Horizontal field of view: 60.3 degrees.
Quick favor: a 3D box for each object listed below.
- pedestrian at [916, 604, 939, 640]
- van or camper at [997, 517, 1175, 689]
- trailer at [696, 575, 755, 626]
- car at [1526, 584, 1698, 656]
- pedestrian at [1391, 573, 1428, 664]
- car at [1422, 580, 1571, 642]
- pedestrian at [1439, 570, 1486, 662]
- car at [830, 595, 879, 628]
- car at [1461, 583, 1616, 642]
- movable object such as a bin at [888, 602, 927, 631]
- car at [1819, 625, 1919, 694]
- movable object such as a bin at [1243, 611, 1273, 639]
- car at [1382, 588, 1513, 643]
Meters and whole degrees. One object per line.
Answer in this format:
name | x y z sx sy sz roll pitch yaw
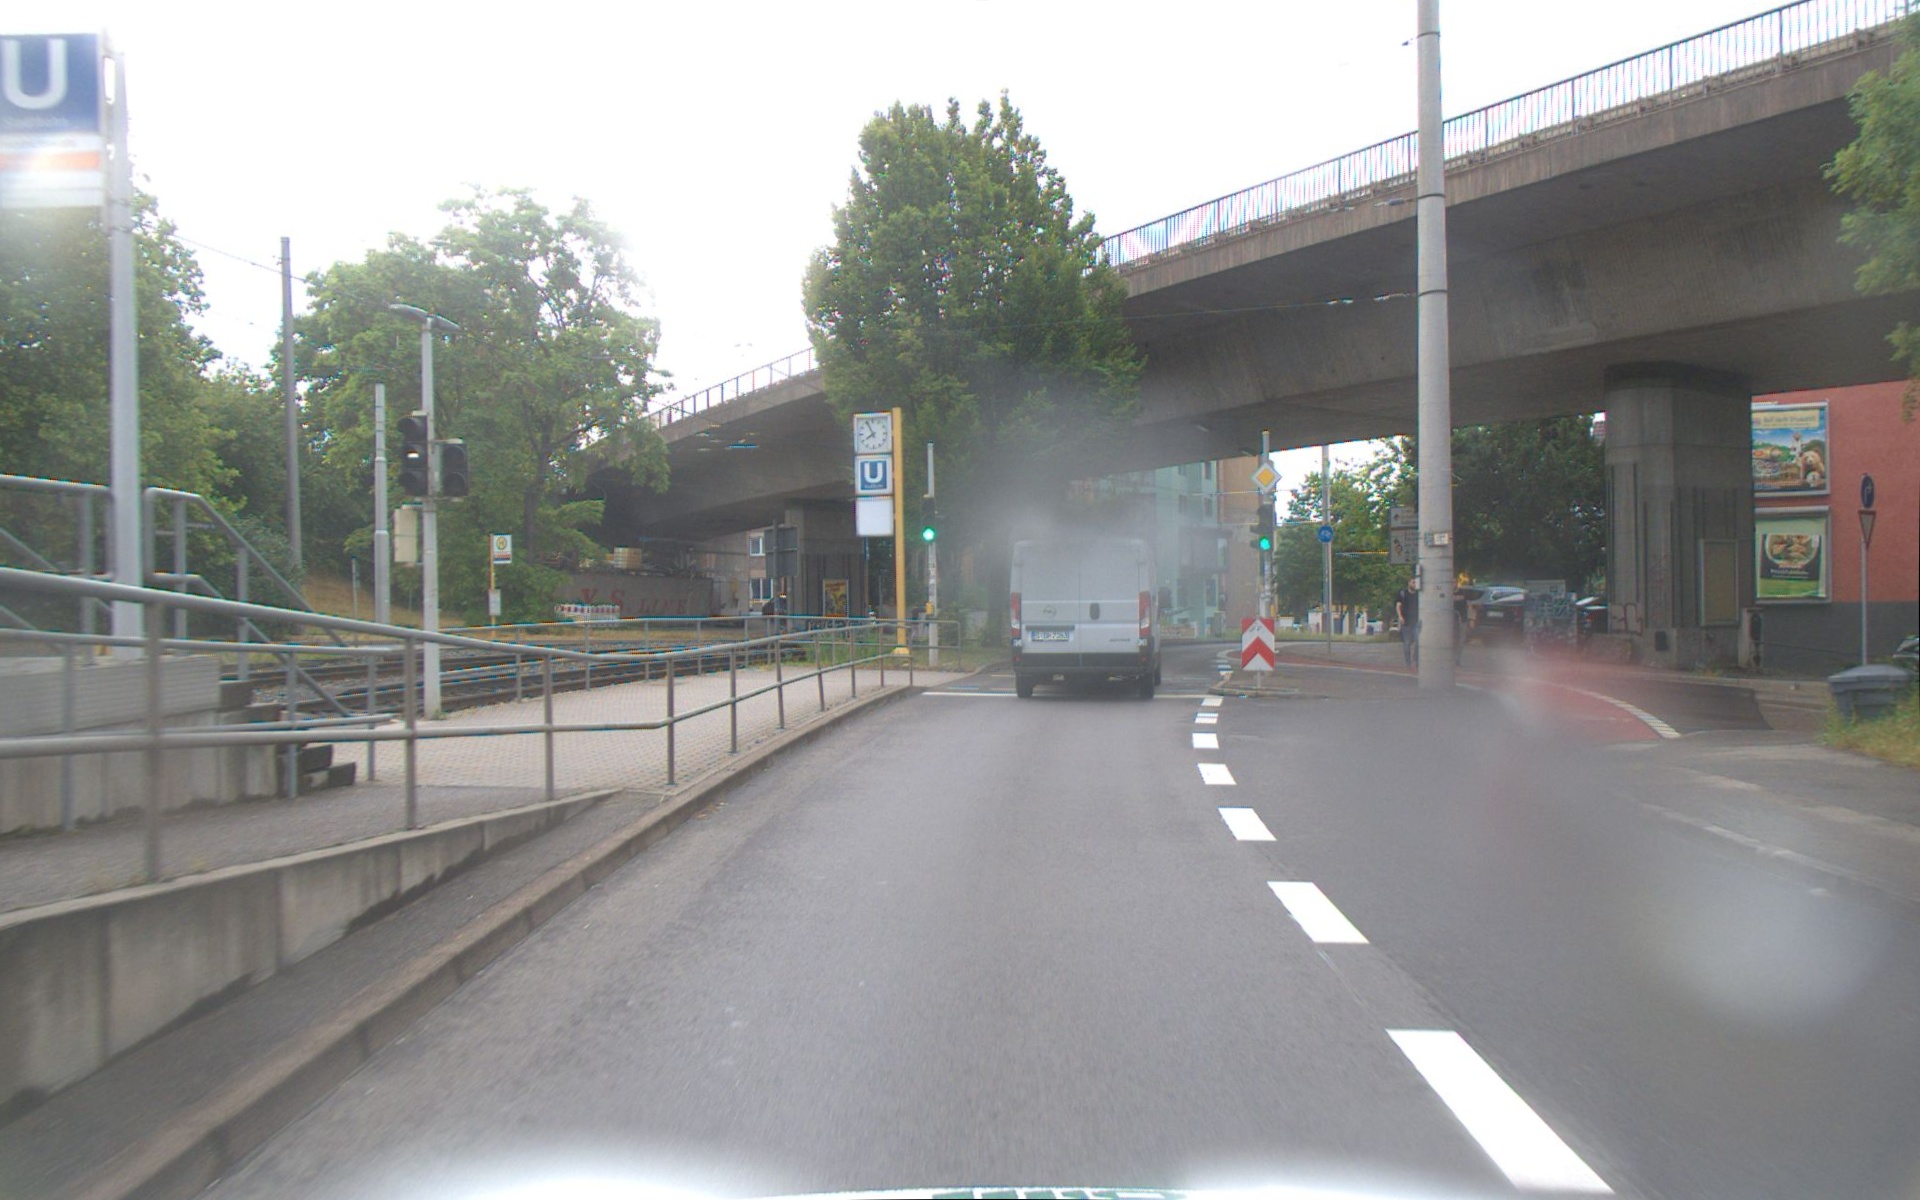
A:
pedestrian | -1.517 1.022 77.407 0.681 1.699 0.886 0 0 31
van or camper | 2.022 0.077 24.984 2.152 2.292 4.687 2 -1 10
trailer | -13.191 0.038 92.712 1.971 2.773 4.084 1 -1 -28
car | 15.909 0.493 40.335 3.945 1.599 1.886 2 -1 -31
pedestrian | 9.227 0.379 33.981 0.612 1.840 0.836 2 -1 9
car | 15.041 0.305 46.295 3.974 1.659 1.945 1 -1 -33
pedestrian | 10.321 0.329 33.991 0.585 1.854 0.908 2 -1 -6
car | -5.906 0.634 92.271 1.691 1.696 3.176 2 1 -23
car | 15.082 0.325 43.062 4.000 1.465 1.767 1 0 -33
movable object such as a bin | -2.938 0.919 91.899 1.538 1.505 1.787 1 1 -26
car | 24.637 1.558 43.022 3.908 1.623 1.999 3 1 25
movable object such as a bin | 24.233 2.031 134.355 2.089 2.194 1.802 2 1 20
car | 14.377 0.457 48.731 3.689 1.548 1.782 1 -1 -33
